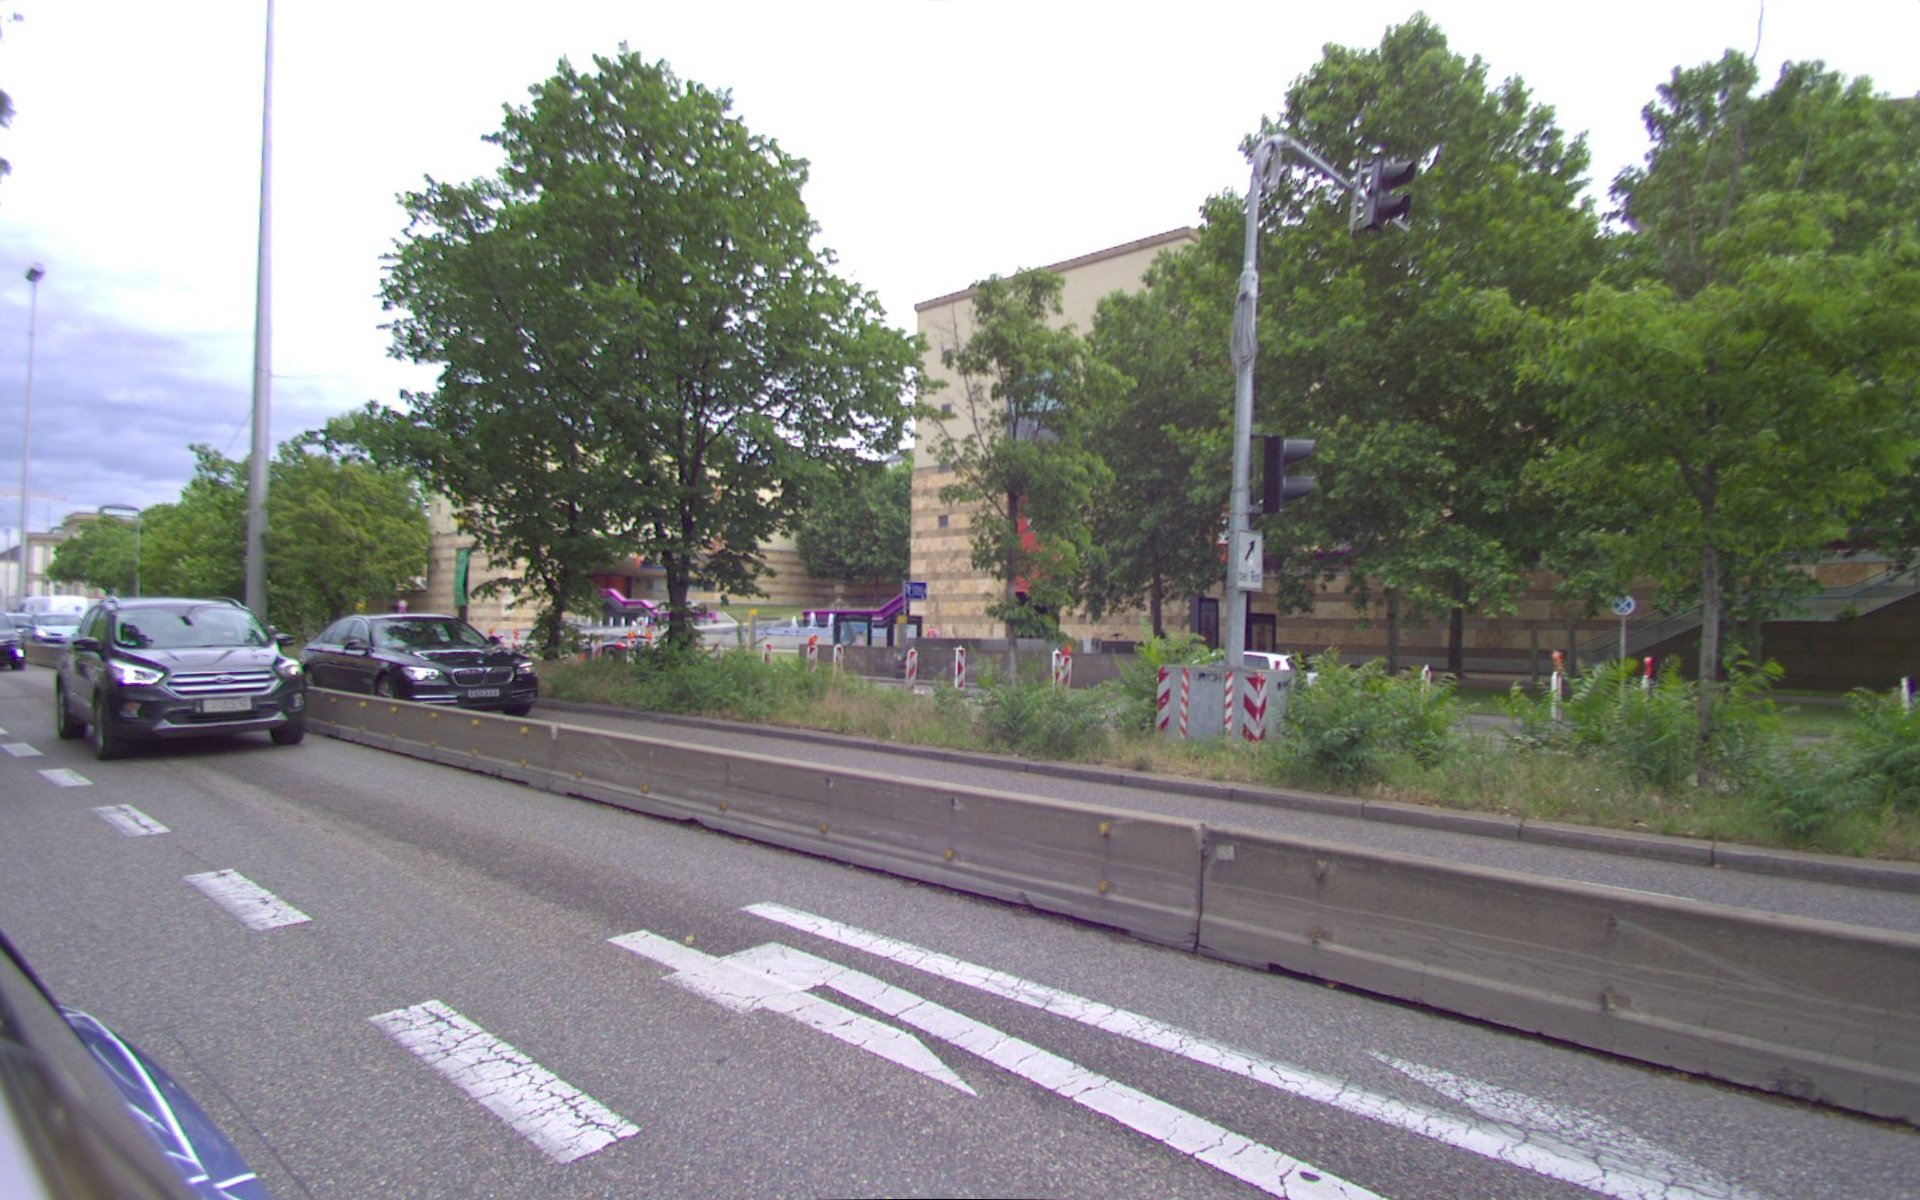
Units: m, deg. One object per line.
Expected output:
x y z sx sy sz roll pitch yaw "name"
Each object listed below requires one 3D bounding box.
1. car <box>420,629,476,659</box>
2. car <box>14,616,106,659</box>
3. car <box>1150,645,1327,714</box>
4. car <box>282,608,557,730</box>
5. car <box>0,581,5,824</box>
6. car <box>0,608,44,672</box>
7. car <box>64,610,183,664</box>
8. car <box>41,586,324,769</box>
-28.548 2.425 56.385 3.578 1.621 1.561 -1 -2 42 "car"
-33.495 1.375 37.628 4.807 1.494 1.972 -1 -2 41 "car"
6.387 1.785 23.438 3.736 1.298 1.338 0 1 41 "car"
-7.993 0.909 14.757 4.807 1.494 1.972 -1 -2 41 "car"
-8.756 0.688 7.365 4.597 1.638 2.036 0 1 39 "car"
-24.543 0.966 25.444 4.150 1.527 1.745 0 0 41 "car"
-24.871 1.070 30.046 4.807 1.494 1.972 -1 -2 41 "car"
-9.221 0.779 11.851 4.658 1.728 1.873 -1 -2 43 "car"
